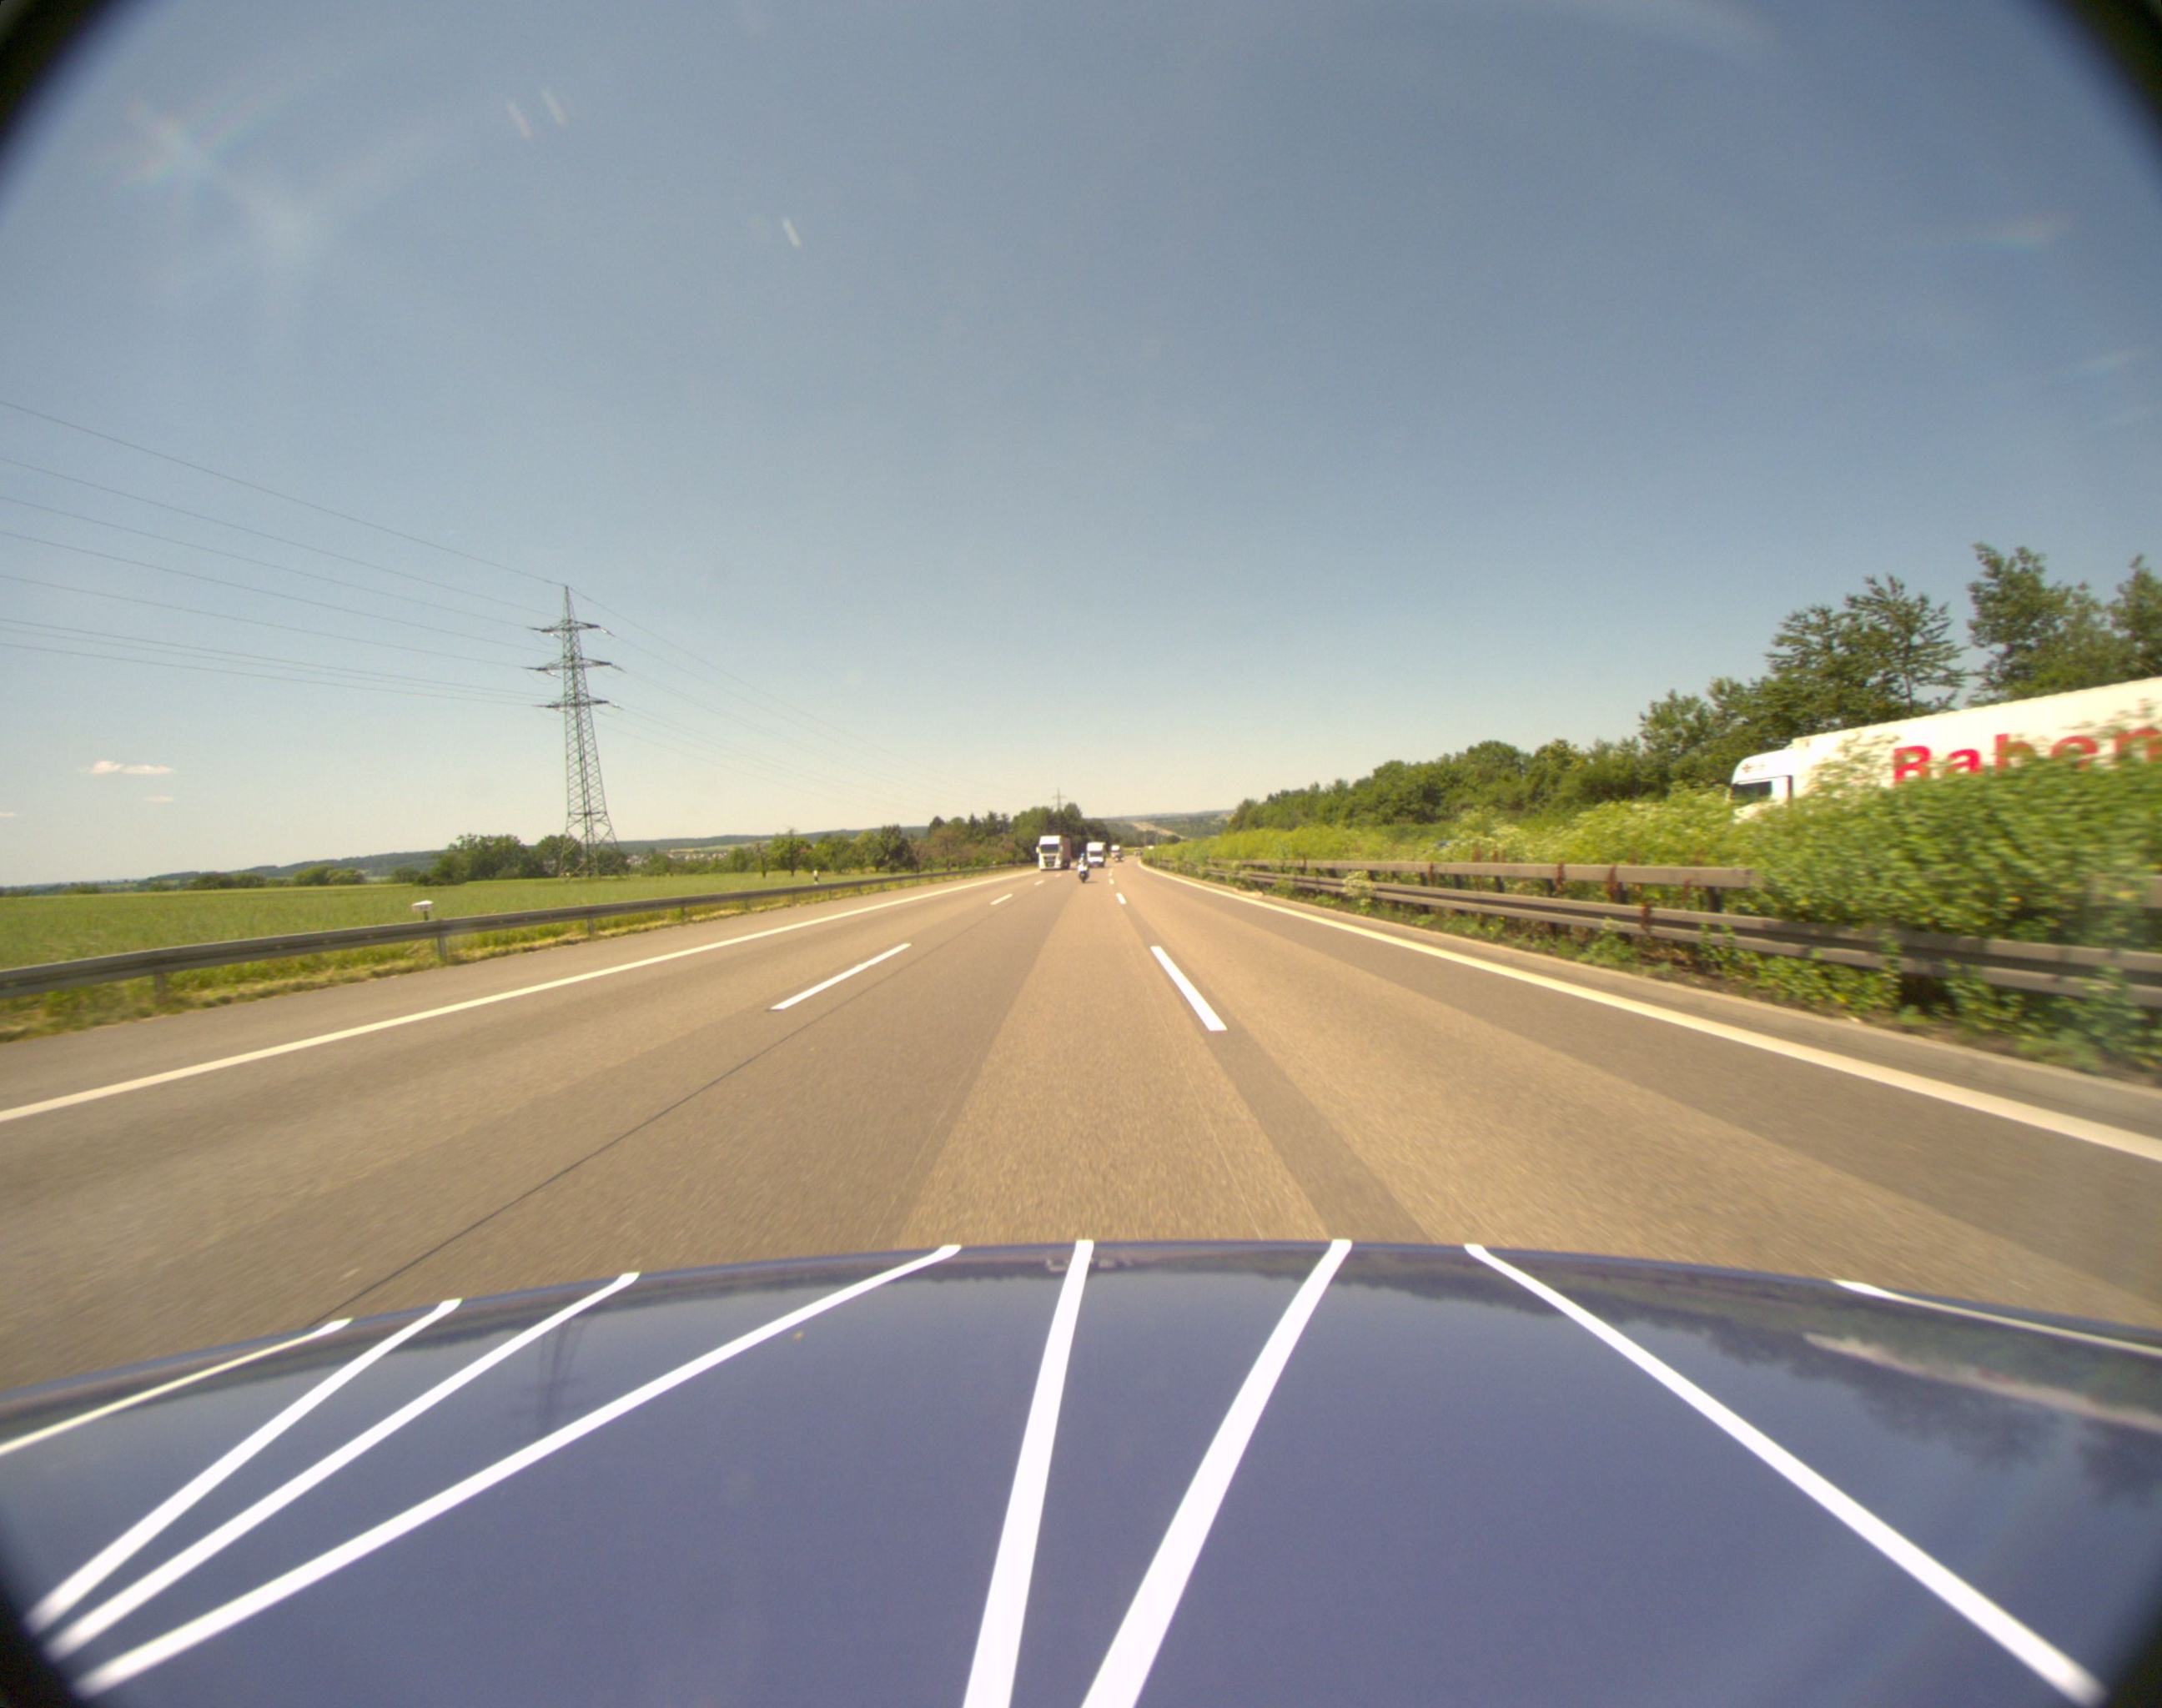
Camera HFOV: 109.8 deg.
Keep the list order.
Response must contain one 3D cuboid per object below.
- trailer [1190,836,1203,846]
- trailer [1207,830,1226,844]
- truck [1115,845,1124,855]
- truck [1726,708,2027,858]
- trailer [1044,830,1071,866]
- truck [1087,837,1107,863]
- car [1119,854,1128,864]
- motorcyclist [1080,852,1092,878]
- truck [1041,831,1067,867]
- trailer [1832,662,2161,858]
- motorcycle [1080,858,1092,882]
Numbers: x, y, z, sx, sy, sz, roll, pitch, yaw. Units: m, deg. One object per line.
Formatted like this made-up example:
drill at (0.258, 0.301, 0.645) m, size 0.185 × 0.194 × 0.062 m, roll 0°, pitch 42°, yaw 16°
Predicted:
trailer at (34.030, -3.652, 224.214) m, size 2.680 × 2.785 × 12.315 m, roll -2°, pitch 1°, yaw 2°
trailer at (27.714, -3.442, 156.101) m, size 2.572 × 2.694 × 11.409 m, roll -2°, pitch 1°, yaw 4°
truck at (12.869, -1.393, 254.138) m, size 2.590 × 3.444 × 5.964 m, roll -2°, pitch 1°, yaw 4°
truck at (20.271, -1.632, 19.838) m, size 2.603 × 3.331 × 5.044 m, roll -2°, pitch 1°, yaw 1°
trailer at (-2.958, -0.779, 99.105) m, size 2.607 × 4.239 × 13.033 m, roll -2°, pitch 1°, yaw 2°
truck at (2.104, -0.524, 99.100) m, size 2.512 × 3.268 × 8.106 m, roll -1°, pitch 1°, yaw 1°
car at (9.117, 0.987, 162.768) m, size 1.704 × 1.958 × 4.000 m, roll -2°, pitch 1°, yaw 3°
motorcyclist at (0.305, 0.641, 43.972) m, size 0.613 × 1.499 × 0.513 m, roll -2°, pitch 1°, yaw 1°
truck at (-3.156, -0.603, 90.987) m, size 2.567 × 4.130 × 6.248 m, roll -2°, pitch 1°, yaw 1°
trailer at (20.207, -1.669, 11.241) m, size 2.604 × 3.423 × 15.828 m, roll -2°, pitch 1°, yaw 0°
motorcycle at (0.317, 0.914, 43.853) m, size 0.631 × 1.279 × 2.312 m, roll -3°, pitch 0°, yaw 1°
